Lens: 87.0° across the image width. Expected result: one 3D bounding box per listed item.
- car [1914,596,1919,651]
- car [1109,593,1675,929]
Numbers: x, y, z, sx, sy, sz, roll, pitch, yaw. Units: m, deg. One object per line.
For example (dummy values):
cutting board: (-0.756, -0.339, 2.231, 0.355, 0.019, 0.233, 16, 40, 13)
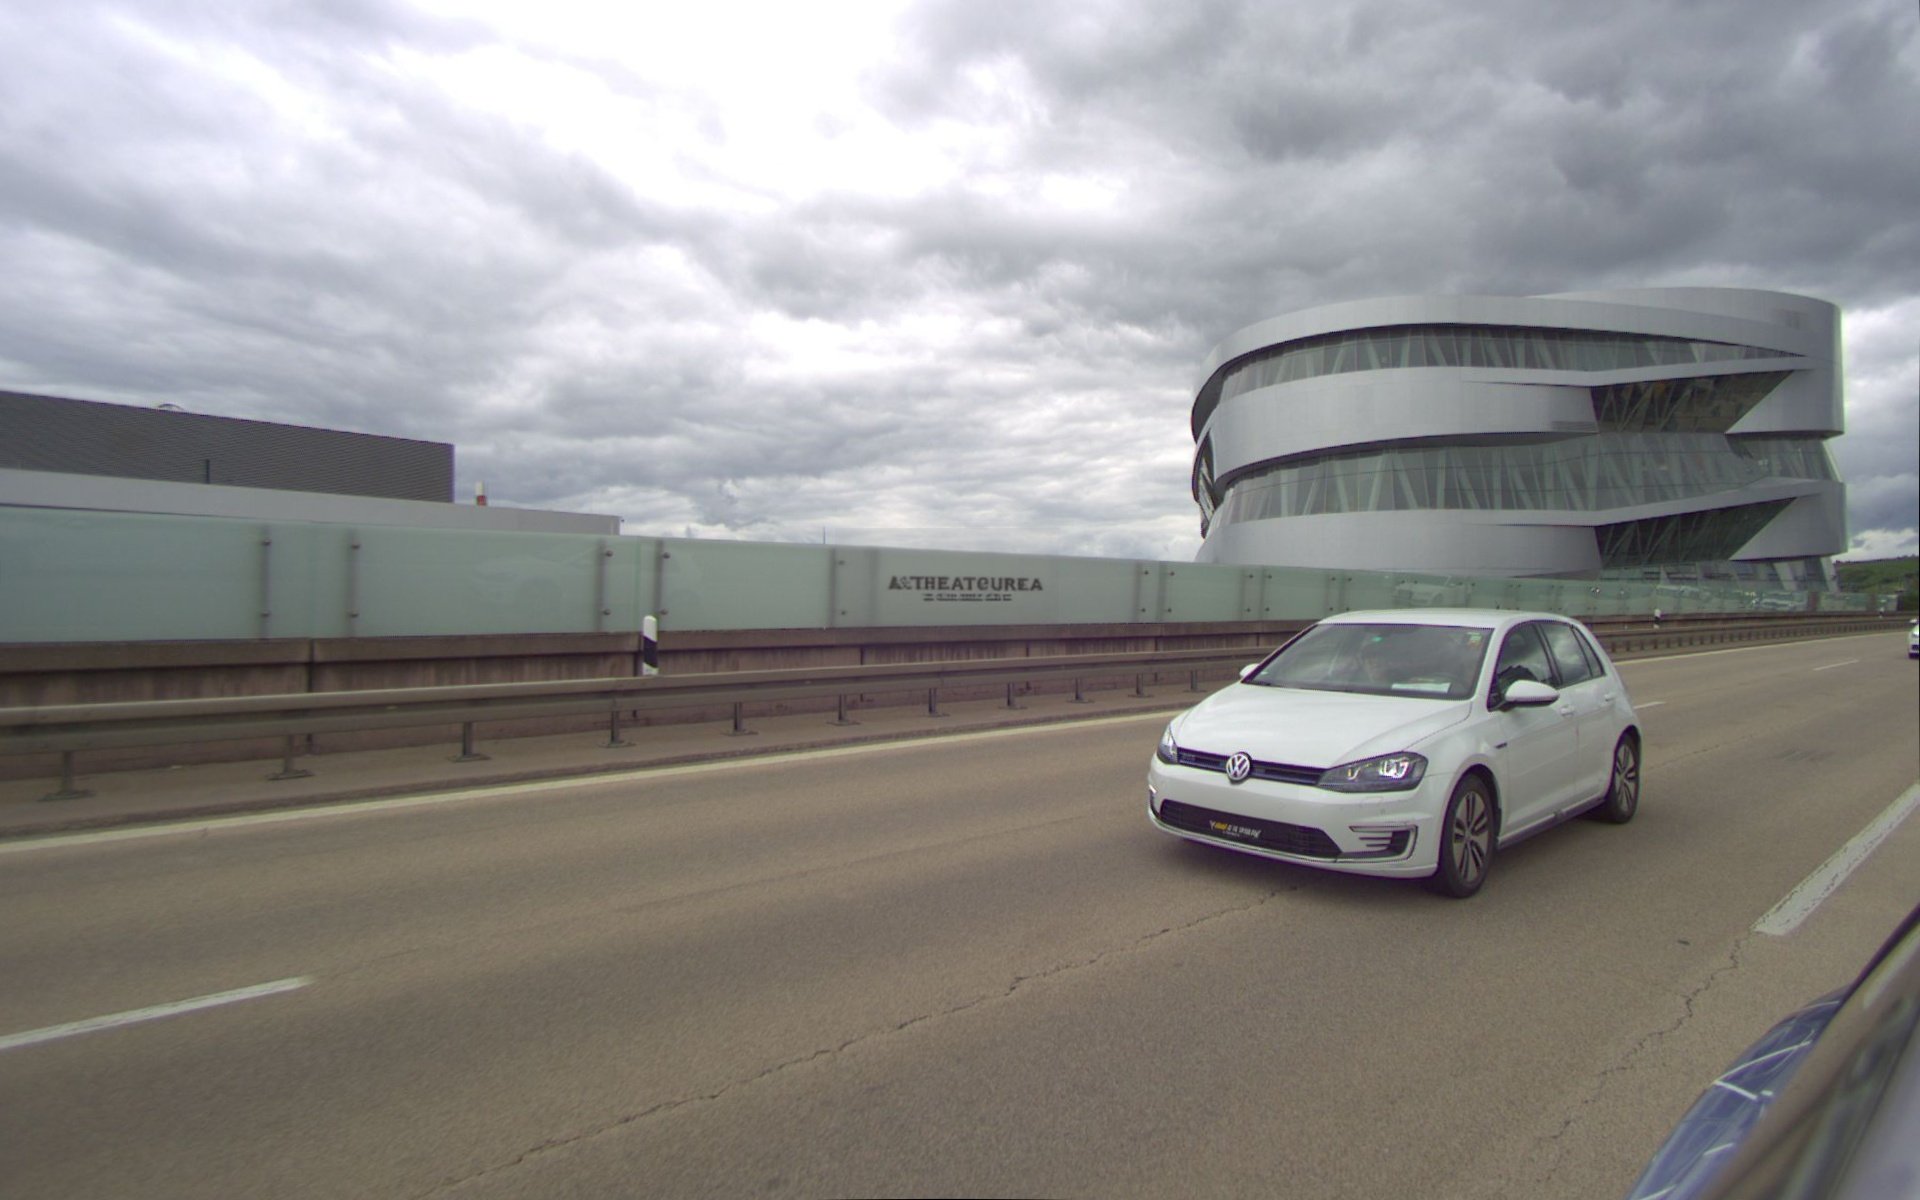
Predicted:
car: (27.712, 0.632, 27.626, 3.860, 1.470, 1.848, 0, 0, -38)
car: (2.934, 0.708, 6.446, 4.001, 1.470, 1.757, 0, 0, -41)
